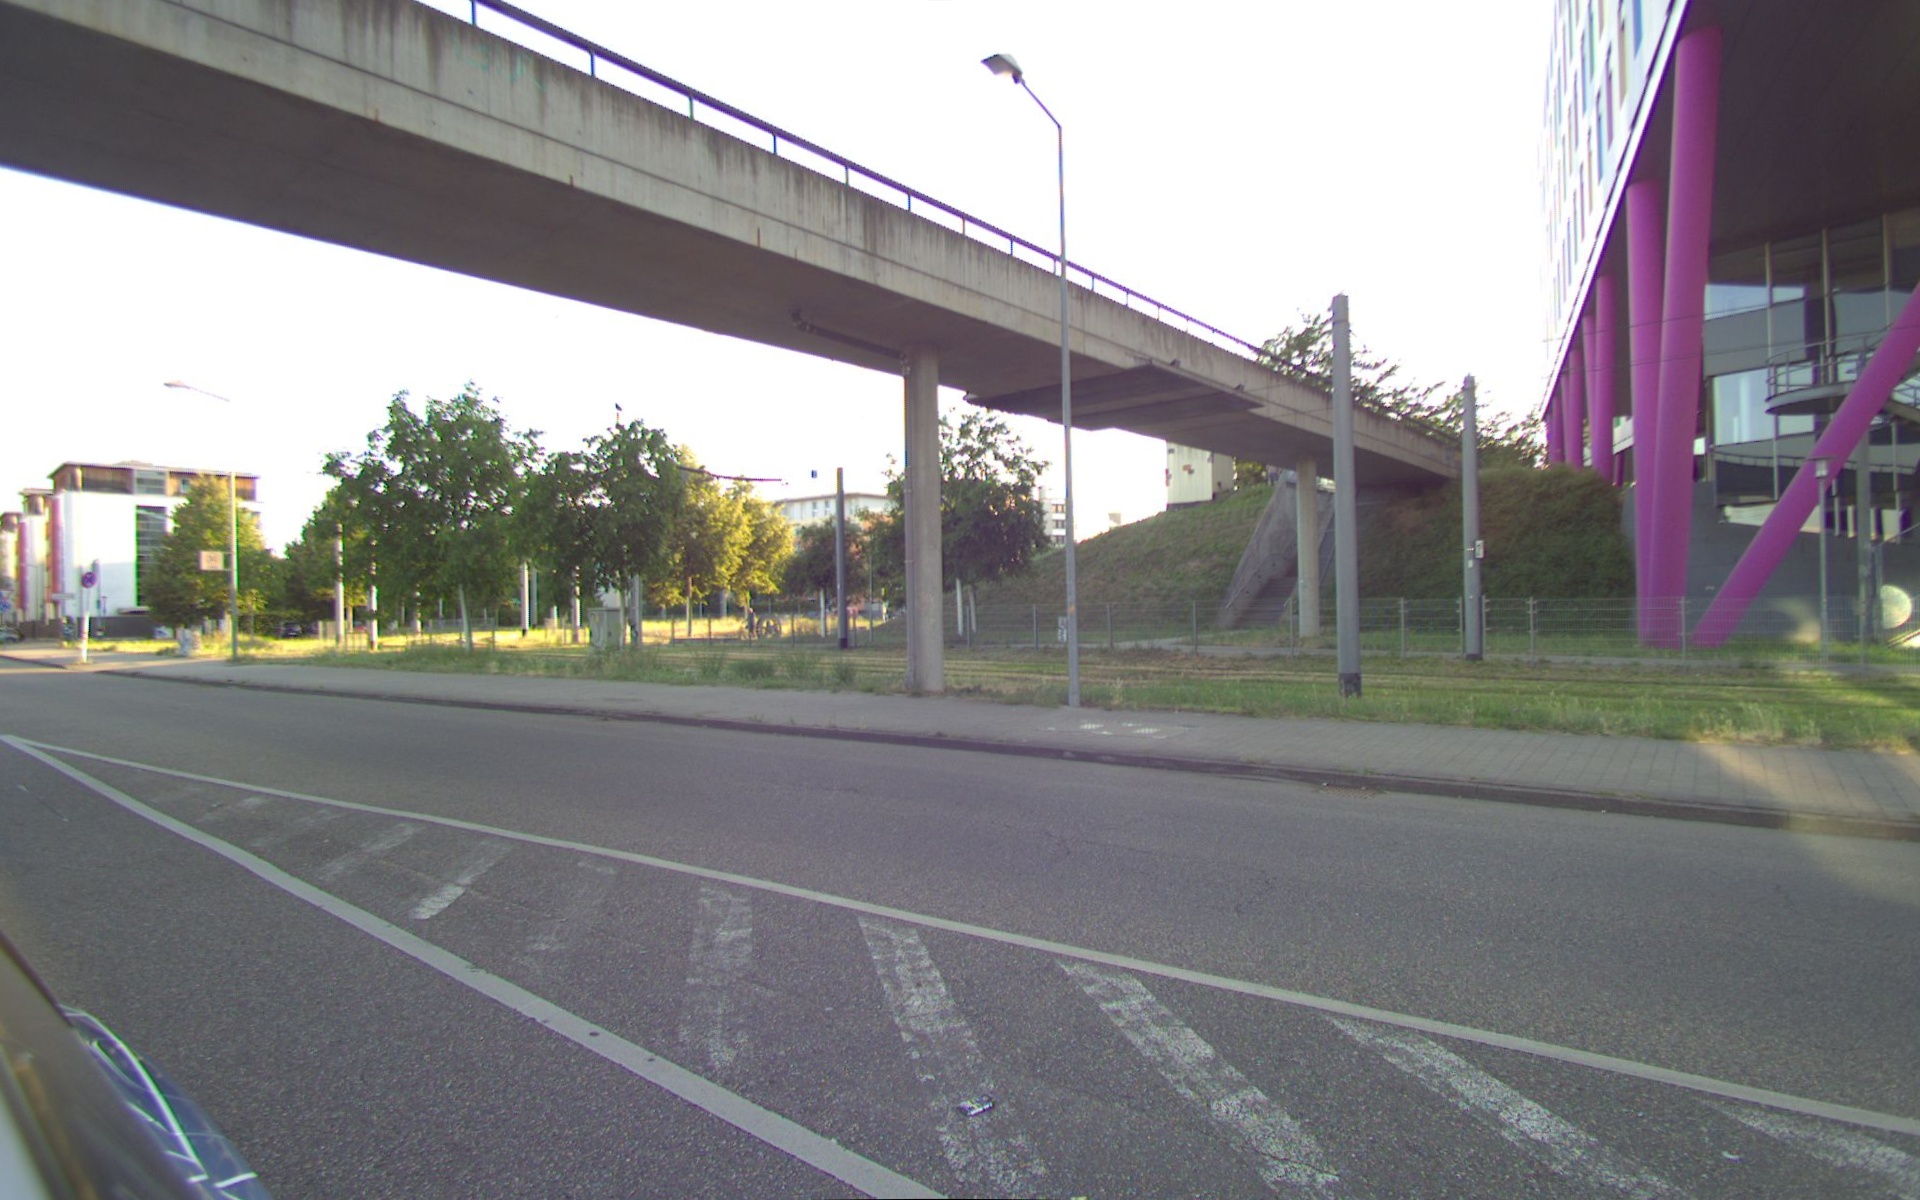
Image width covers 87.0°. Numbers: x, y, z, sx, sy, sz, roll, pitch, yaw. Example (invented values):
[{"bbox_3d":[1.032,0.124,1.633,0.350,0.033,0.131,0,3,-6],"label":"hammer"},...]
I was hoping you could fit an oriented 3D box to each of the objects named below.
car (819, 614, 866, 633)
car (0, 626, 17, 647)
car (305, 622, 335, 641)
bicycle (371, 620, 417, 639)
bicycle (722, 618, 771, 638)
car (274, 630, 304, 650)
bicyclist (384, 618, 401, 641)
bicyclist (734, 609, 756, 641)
[{"bbox_3d":[-13.828,2.773,119.430,5.445,2.029,2.001,0,-1,-45],"label":"car"},{"bbox_3d":[-80.529,3.053,83.443,2.000,1.741,3.944,-2,-1,42],"label":"car"},{"bbox_3d":[-55.154,2.729,87.174,1.913,1.541,4.009,-1,-1,-36],"label":"car"},{"bbox_3d":[-47.226,2.415,84.473,0.887,1.503,3.277,-2,-1,40],"label":"bicycle"},{"bbox_3d":[-11.299,1.471,53.679,0.654,1.016,2.808,-2,-1,37],"label":"bicycle"},{"bbox_3d":[-56.903,3.368,85.782,1.913,1.541,4.009,-1,-1,-36],"label":"car"},{"bbox_3d":[-47.313,2.438,84.359,0.883,1.890,1.020,-1,-2,40],"label":"bicyclist"},{"bbox_3d":[-11.440,1.322,53.776,0.716,1.644,0.899,-2,-1,35],"label":"bicyclist"}]
